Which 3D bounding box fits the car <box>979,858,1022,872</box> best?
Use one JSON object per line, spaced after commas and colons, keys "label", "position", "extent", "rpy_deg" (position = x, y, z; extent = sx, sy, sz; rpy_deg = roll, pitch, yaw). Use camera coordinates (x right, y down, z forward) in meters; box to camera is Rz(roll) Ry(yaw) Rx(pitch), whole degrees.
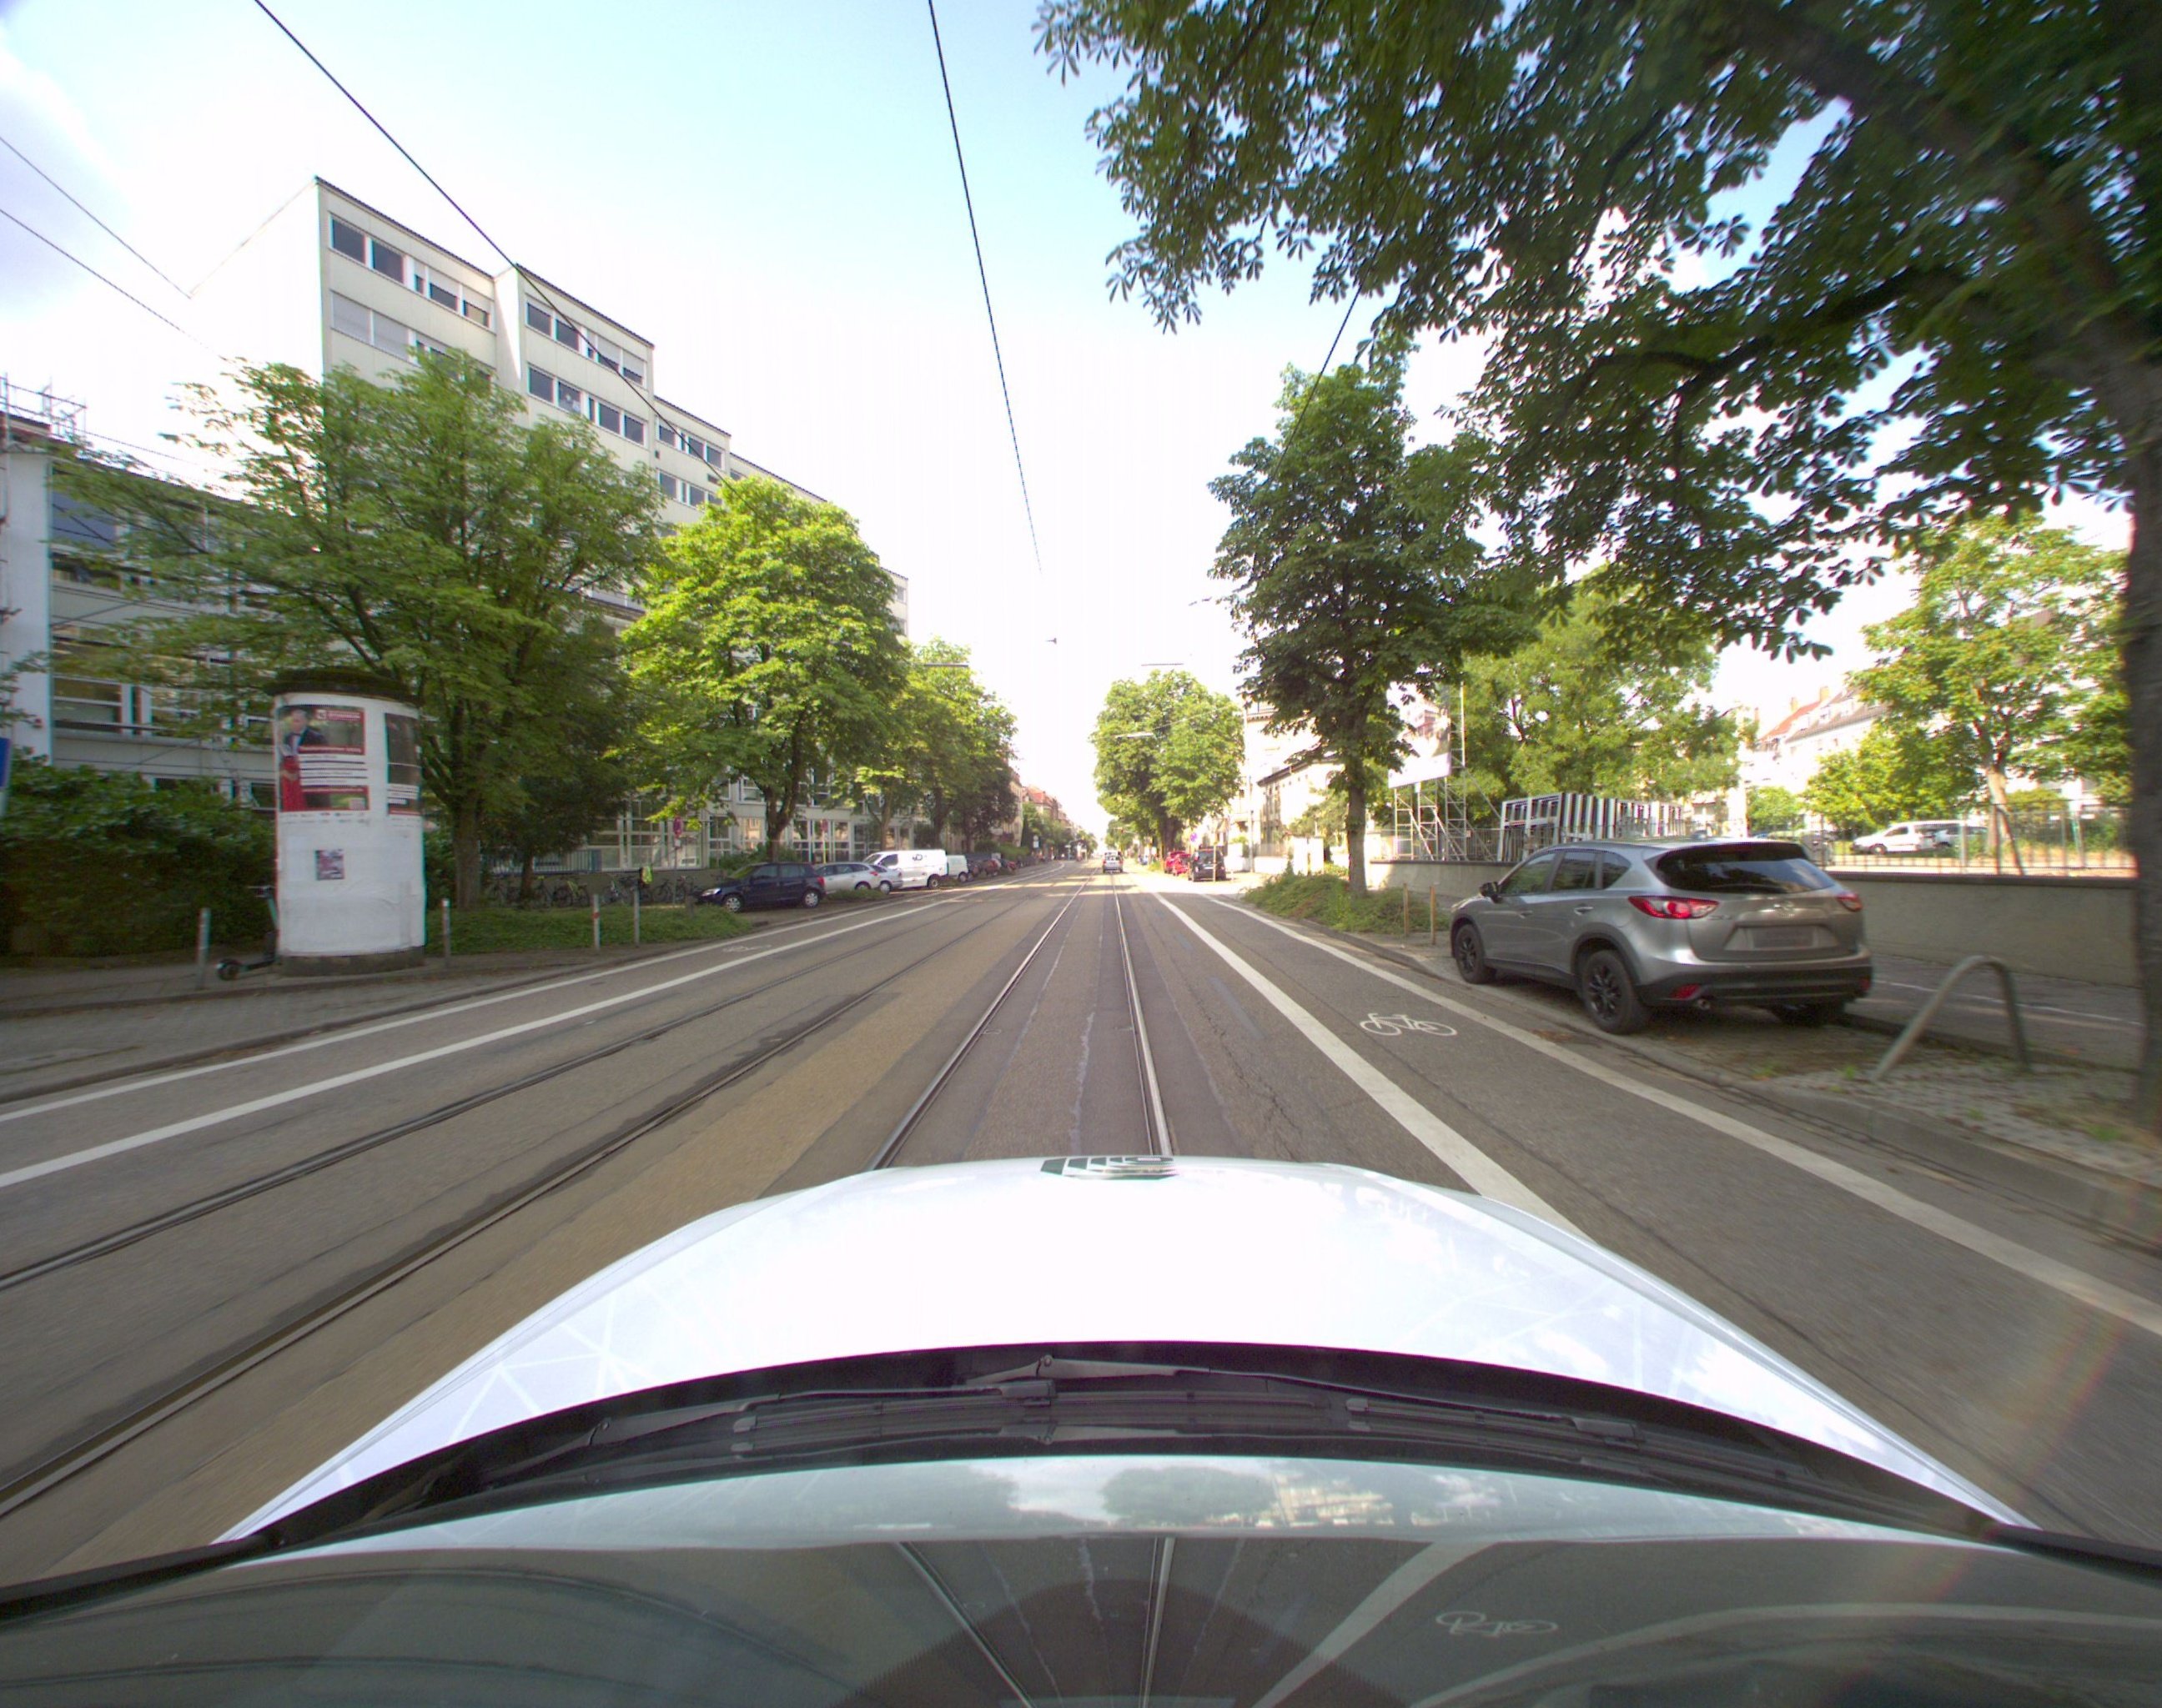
{"label": "car", "position": [-7.657, 1.027, 77.506], "extent": [3.804, 1.306, 1.620], "rpy_deg": [0, 0, -37]}

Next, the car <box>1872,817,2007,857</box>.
{"label": "car", "position": [49.049, -0.936, 46.694], "extent": [4.891, 1.965, 2.012], "rpy_deg": [-2, -3, 31]}

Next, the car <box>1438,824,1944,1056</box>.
{"label": "car", "position": [5.345, 0.563, 8.060], "extent": [1.758, 1.606, 4.461], "rpy_deg": [-2, 1, 2]}

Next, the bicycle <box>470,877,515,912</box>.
{"label": "bicycle", "position": [-18.701, 1.269, 25.854], "extent": [1.877, 1.069, 0.440], "rpy_deg": [0, 0, 31]}

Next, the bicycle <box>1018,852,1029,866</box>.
{"label": "bicycle", "position": [-7.087, 0.632, 101.042], "extent": [0.933, 1.746, 2.289], "rpy_deg": [0, 0, 8]}

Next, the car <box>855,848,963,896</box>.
{"label": "car", "position": [-8.262, 0.818, 39.378], "extent": [4.667, 1.911, 1.910], "rpy_deg": [-5, 2, -40]}

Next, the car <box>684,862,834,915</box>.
{"label": "car", "position": [-9.967, 1.017, 25.375], "extent": [4.021, 1.462, 1.739], "rpy_deg": [-1, 0, -41]}

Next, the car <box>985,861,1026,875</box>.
{"label": "car", "position": [-7.508, 1.416, 81.255], "extent": [3.804, 1.306, 1.620], "rpy_deg": [0, 0, -37]}

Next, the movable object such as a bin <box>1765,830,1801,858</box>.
{"label": "movable object such as a bin", "position": [34.181, -0.479, 39.653], "extent": [0.935, 1.349, 1.389], "rpy_deg": [0, 0, 23]}

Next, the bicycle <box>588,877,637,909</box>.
{"label": "bicycle", "position": [-16.759, 1.371, 29.121], "extent": [2.030, 1.087, 0.500], "rpy_deg": [0, 0, 27]}

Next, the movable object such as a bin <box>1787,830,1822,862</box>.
{"label": "movable object such as a bin", "position": [32.985, -0.364, 37.150], "extent": [0.869, 1.451, 1.241], "rpy_deg": [0, 0, 23]}

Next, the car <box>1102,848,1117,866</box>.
{"label": "car", "position": [3.228, 0.297, 92.831], "extent": [1.615, 2.000, 3.566], "rpy_deg": [0, 0, 2]}

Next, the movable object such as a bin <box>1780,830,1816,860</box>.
{"label": "movable object such as a bin", "position": [33.745, -0.418, 38.356], "extent": [0.935, 1.349, 1.241], "rpy_deg": [0, 0, 23]}

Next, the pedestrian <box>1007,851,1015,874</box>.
{"label": "pedestrian", "position": [-6.054, 0.720, 70.599], "extent": [0.613, 2.013, 0.501], "rpy_deg": [0, 0, 1]}

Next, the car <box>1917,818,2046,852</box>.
{"label": "car", "position": [44.572, -0.910, 40.433], "extent": [3.866, 1.420, 1.769], "rpy_deg": [-3, -2, 29]}

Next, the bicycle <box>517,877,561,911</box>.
{"label": "bicycle", "position": [-17.999, 1.304, 27.054], "extent": [1.877, 1.069, 0.440], "rpy_deg": [0, 0, 31]}

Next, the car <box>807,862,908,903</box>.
{"label": "car", "position": [-9.619, 1.196, 35.223], "extent": [3.805, 1.475, 1.705], "rpy_deg": [-4, 1, -42]}

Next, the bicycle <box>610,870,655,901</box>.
{"label": "bicycle", "position": [-16.548, 1.164, 30.027], "extent": [2.030, 1.087, 0.500], "rpy_deg": [0, 0, 31]}

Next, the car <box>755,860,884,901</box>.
{"label": "car", "position": [-10.126, 0.975, 31.758], "extent": [1.718, 1.426, 4.488], "rpy_deg": [-1, 0, 45]}

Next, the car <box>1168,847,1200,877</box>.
{"label": "car", "position": [6.717, 0.495, 53.459], "extent": [1.668, 1.611, 3.587], "rpy_deg": [-3, 4, 2]}

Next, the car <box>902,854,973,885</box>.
{"label": "car", "position": [-8.597, 0.891, 48.929], "extent": [3.780, 1.712, 1.860], "rpy_deg": [-1, 0, -44]}

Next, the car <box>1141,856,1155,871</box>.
{"label": "car", "position": [8.273, 1.163, 100.528], "extent": [1.615, 1.684, 3.566], "rpy_deg": [0, 0, 2]}

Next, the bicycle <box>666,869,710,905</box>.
{"label": "bicycle", "position": [-15.470, 1.282, 32.049], "extent": [1.878, 1.364, 0.440], "rpy_deg": [0, 0, 25]}

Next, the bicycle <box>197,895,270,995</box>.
{"label": "bicycle", "position": [-11.213, 1.162, 10.797], "extent": [1.489, 1.154, 0.637], "rpy_deg": [0, 0, 44]}

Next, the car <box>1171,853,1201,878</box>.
{"label": "car", "position": [6.864, 0.716, 53.457], "extent": [1.660, 1.486, 3.281], "rpy_deg": [-2, 0, 2]}

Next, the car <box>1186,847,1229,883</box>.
{"label": "car", "position": [6.454, 0.527, 41.839], "extent": [1.668, 1.611, 3.586], "rpy_deg": [-3, 1, 2]}

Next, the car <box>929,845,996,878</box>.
{"label": "car", "position": [-8.187, 0.530, 56.543], "extent": [4.228, 2.081, 1.861], "rpy_deg": [3, 0, -44]}

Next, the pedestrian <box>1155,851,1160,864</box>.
{"label": "pedestrian", "position": [11.280, 0.525, 120.145], "extent": [0.757, 2.013, 0.765], "rpy_deg": [0, 0, 3]}

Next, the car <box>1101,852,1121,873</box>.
{"label": "car", "position": [2.494, 0.718, 67.661], "extent": [1.615, 1.684, 3.566], "rpy_deg": [0, 0, 2]}

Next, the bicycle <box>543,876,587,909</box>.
{"label": "bicycle", "position": [-17.564, 1.288, 27.707], "extent": [1.877, 1.069, 0.440], "rpy_deg": [0, 0, 31]}

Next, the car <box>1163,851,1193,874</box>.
{"label": "car", "position": [7.153, 0.600, 60.500], "extent": [1.952, 1.706, 4.004], "rpy_deg": [0, 0, 3]}

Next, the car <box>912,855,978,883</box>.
{"label": "car", "position": [-8.670, 0.944, 52.161], "extent": [3.780, 1.712, 1.860], "rpy_deg": [-1, 0, -44]}

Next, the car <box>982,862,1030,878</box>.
{"label": "car", "position": [-6.386, 1.361, 69.607], "extent": [3.804, 1.306, 1.620], "rpy_deg": [0, 0, -37]}
